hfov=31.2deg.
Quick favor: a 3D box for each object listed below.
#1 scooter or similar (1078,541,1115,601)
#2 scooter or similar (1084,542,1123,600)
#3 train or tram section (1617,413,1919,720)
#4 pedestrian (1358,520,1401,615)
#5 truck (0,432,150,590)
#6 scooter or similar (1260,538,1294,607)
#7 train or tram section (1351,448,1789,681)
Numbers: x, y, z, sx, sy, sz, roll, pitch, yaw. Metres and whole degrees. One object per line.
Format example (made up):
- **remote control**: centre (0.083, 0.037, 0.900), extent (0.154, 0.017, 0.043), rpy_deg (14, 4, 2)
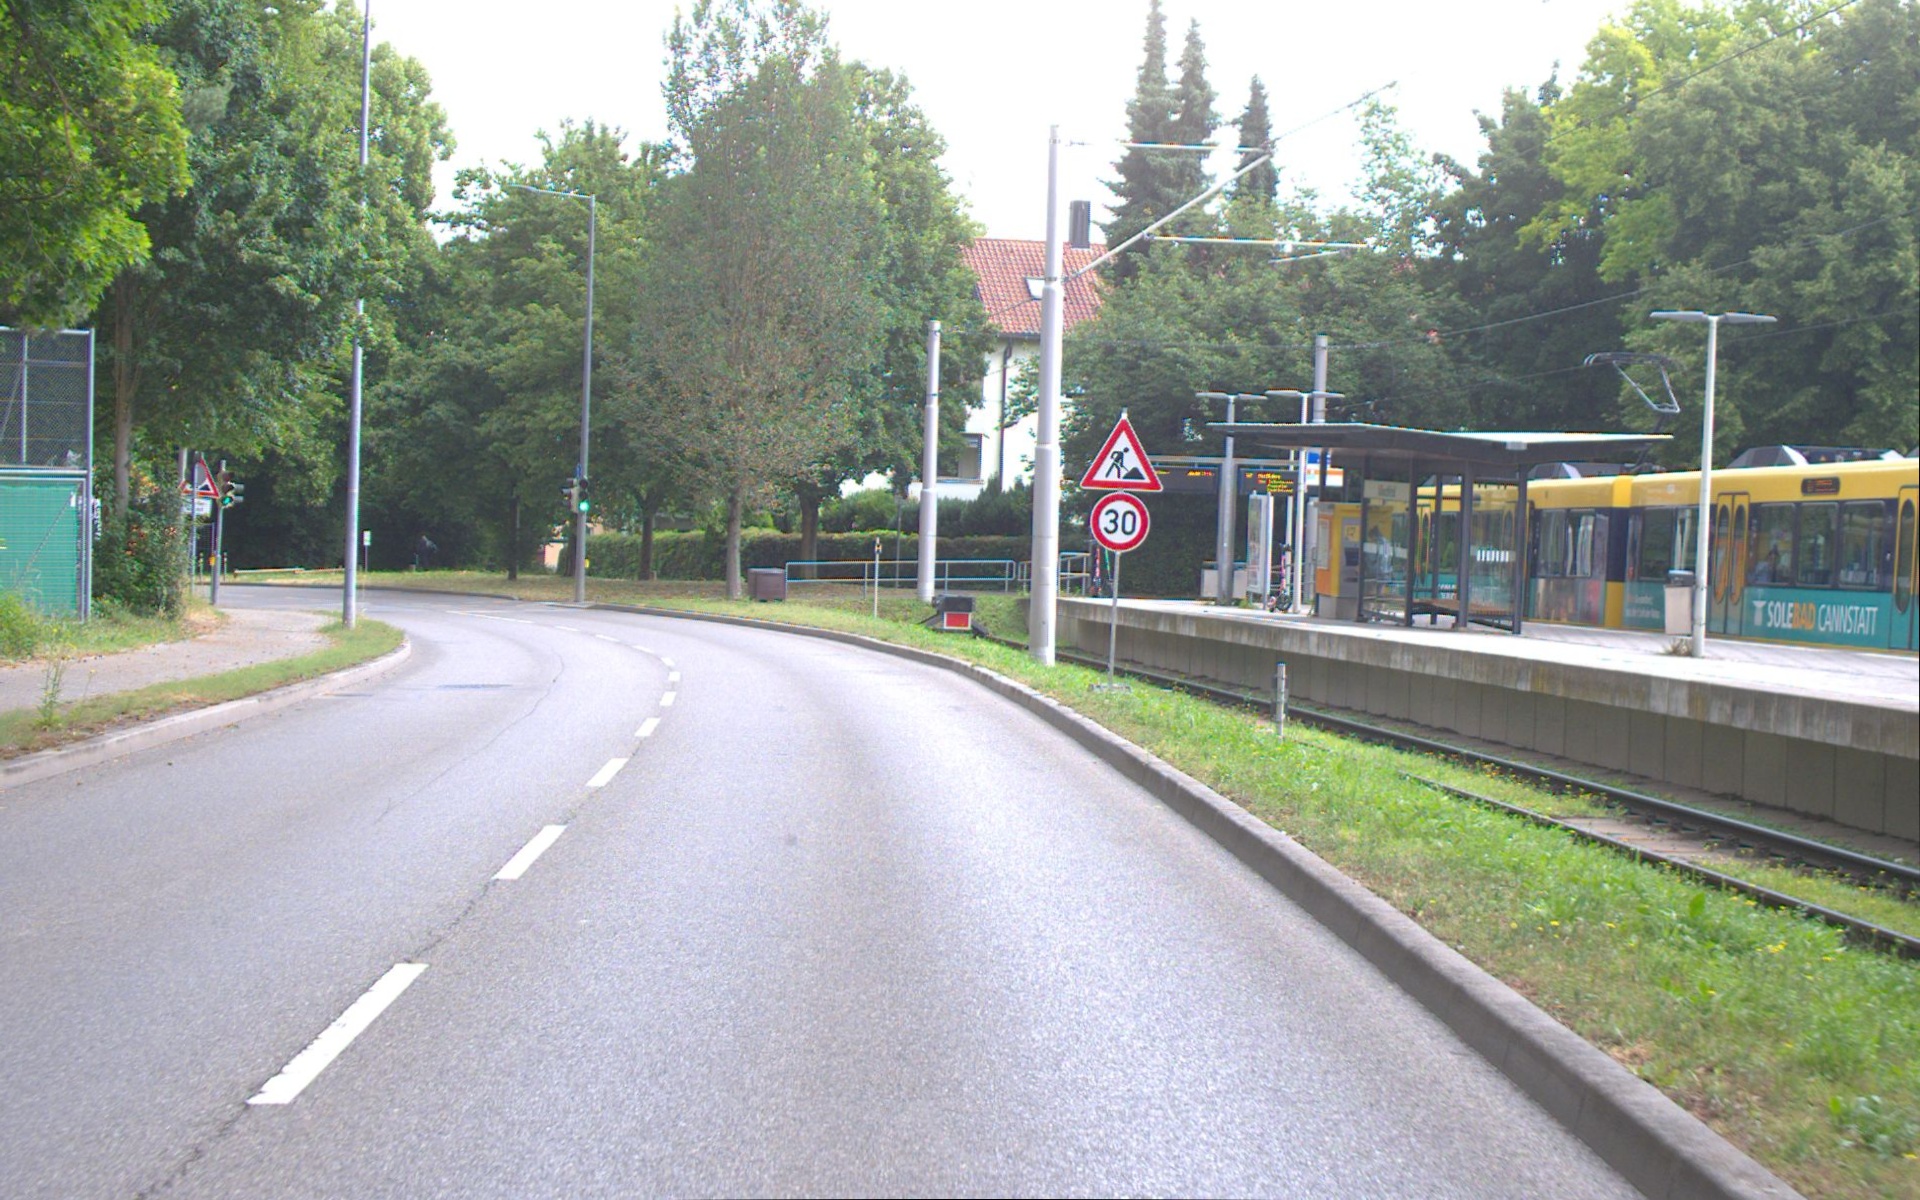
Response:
- **scooter or similar**: centre (2.876, -0.610, 72.752), extent (0.429, 1.249, 1.255), rpy_deg (0, -1, -15)
- **scooter or similar**: centre (3.126, -0.628, 75.135), extent (0.429, 1.249, 1.255), rpy_deg (0, -1, -18)
- **train or tram section**: centre (12.798, -0.424, 44.797), extent (2.813, 3.724, 19.518), rpy_deg (3, 1, -5)
- **pedestrian**: centre (7.003, -0.544, 57.336), extent (0.623, 1.567, 0.665), rpy_deg (1, 0, 11)
- **truck**: centre (-23.435, -2.087, 78.650), extent (9.228, 3.519, 2.566), rpy_deg (1, 0, -20)
- **scooter or similar**: centre (5.802, -0.504, 62.980), extent (0.368, 1.238, 1.146), rpy_deg (1, 1, -7)
- **train or tram section**: centre (10.804, -0.801, 64.333), extent (2.813, 3.576, 19.518), rpy_deg (3, 1, -5)
